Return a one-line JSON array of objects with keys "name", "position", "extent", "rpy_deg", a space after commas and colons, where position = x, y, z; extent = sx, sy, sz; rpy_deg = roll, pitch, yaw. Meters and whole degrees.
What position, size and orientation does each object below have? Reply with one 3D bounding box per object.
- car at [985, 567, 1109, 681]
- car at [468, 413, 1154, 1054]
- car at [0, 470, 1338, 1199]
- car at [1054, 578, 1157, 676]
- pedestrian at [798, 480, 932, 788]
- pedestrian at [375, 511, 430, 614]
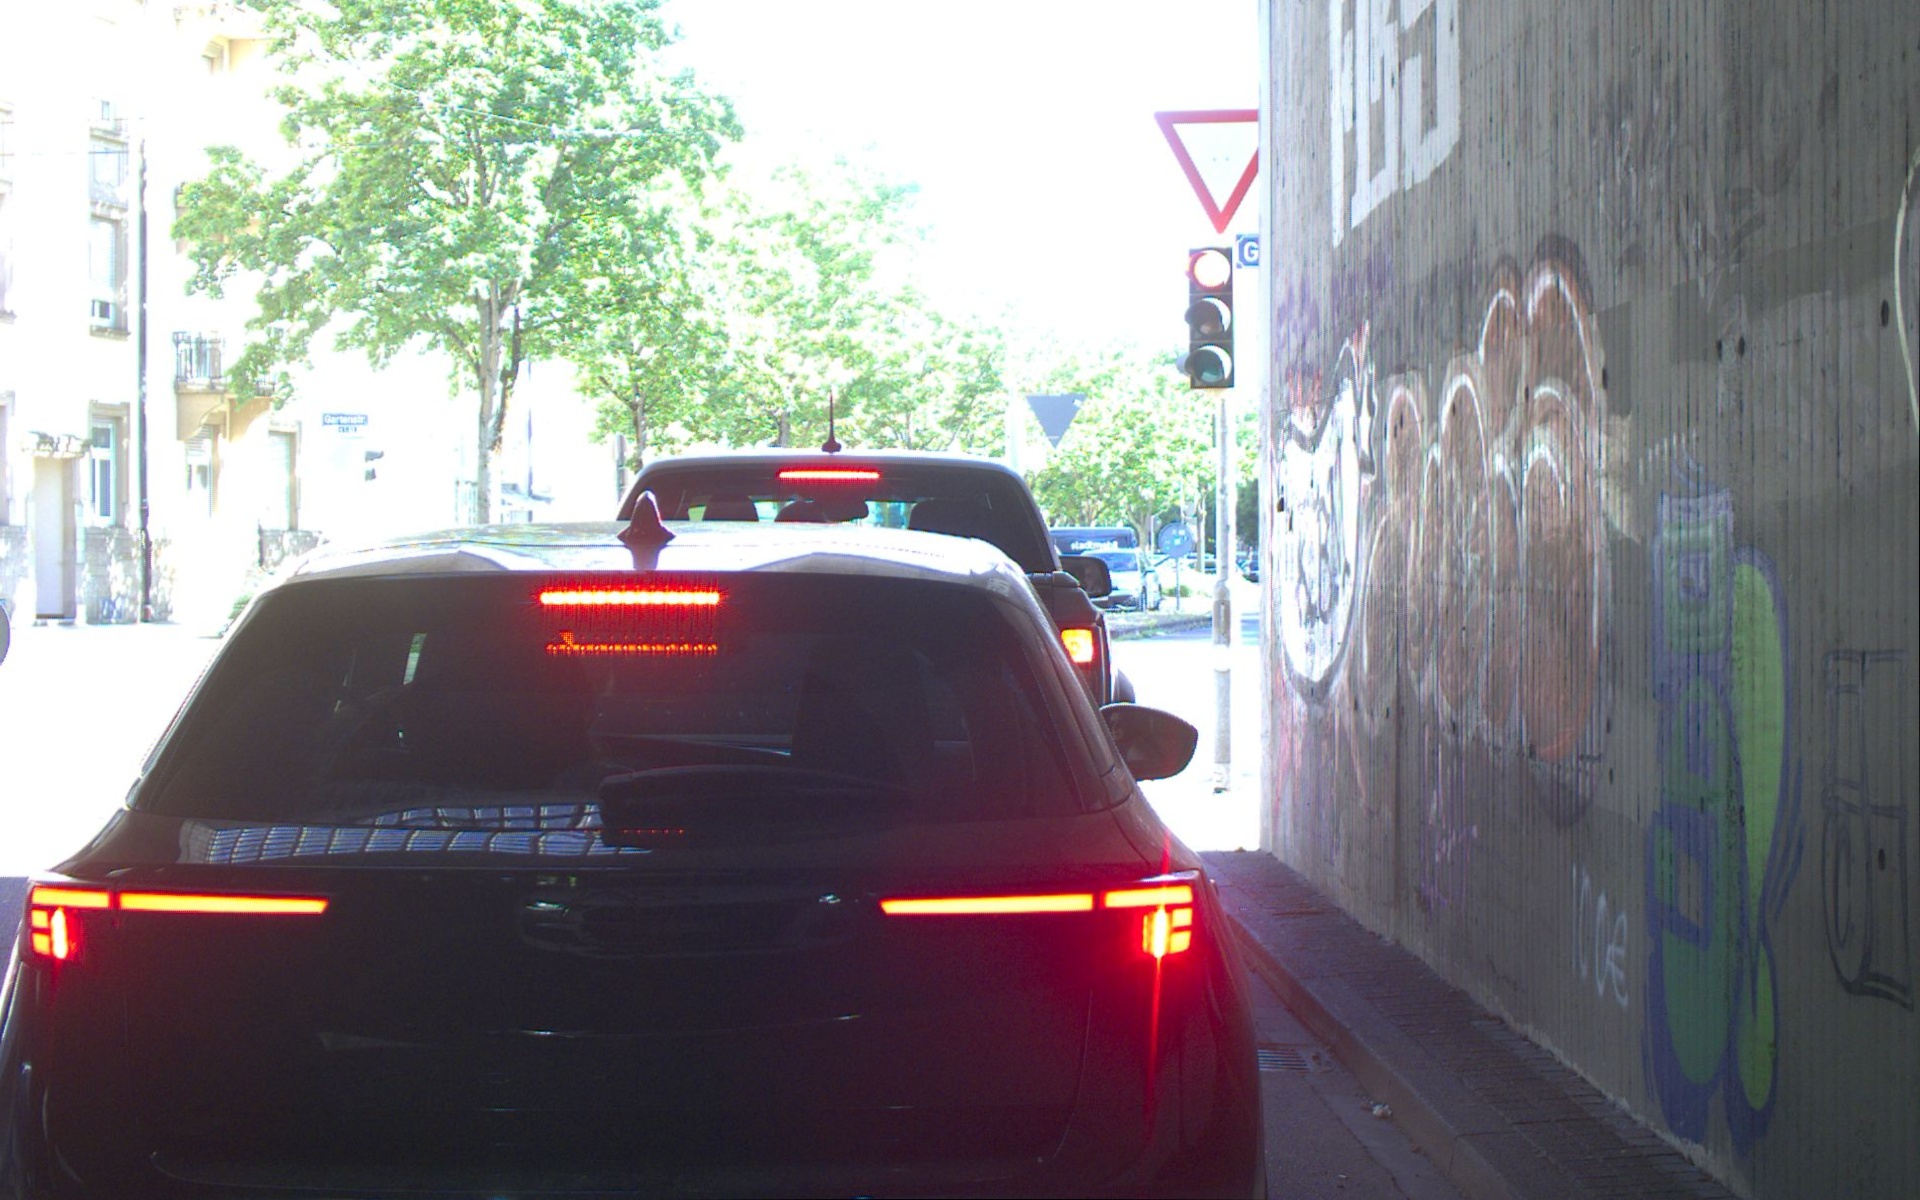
[{"name": "car", "position": [1.617, 0.402, 62.551], "extent": [1.994, 1.963, 4.163], "rpy_deg": [1, 1, 5]}, {"name": "car", "position": [-0.457, 0.352, 12.067], "extent": [1.993, 1.865, 4.000], "rpy_deg": [0, 1, -1]}, {"name": "car", "position": [-0.471, 0.568, 6.064], "extent": [1.764, 1.566, 4.001], "rpy_deg": [1, 2, -1]}, {"name": "car", "position": [3.082, 0.533, 72.202], "extent": [1.994, 1.963, 4.163], "rpy_deg": [1, 1, 5]}, {"name": "pedestrian", "position": [-0.540, 0.187, 19.841], "extent": [0.731, 1.728, 0.874], "rpy_deg": [1, 0, -1]}, {"name": "pedestrian", "position": [-11.451, -0.773, 70.644], "extent": [0.892, 2.080, 0.808], "rpy_deg": [1, 0, 7]}]
